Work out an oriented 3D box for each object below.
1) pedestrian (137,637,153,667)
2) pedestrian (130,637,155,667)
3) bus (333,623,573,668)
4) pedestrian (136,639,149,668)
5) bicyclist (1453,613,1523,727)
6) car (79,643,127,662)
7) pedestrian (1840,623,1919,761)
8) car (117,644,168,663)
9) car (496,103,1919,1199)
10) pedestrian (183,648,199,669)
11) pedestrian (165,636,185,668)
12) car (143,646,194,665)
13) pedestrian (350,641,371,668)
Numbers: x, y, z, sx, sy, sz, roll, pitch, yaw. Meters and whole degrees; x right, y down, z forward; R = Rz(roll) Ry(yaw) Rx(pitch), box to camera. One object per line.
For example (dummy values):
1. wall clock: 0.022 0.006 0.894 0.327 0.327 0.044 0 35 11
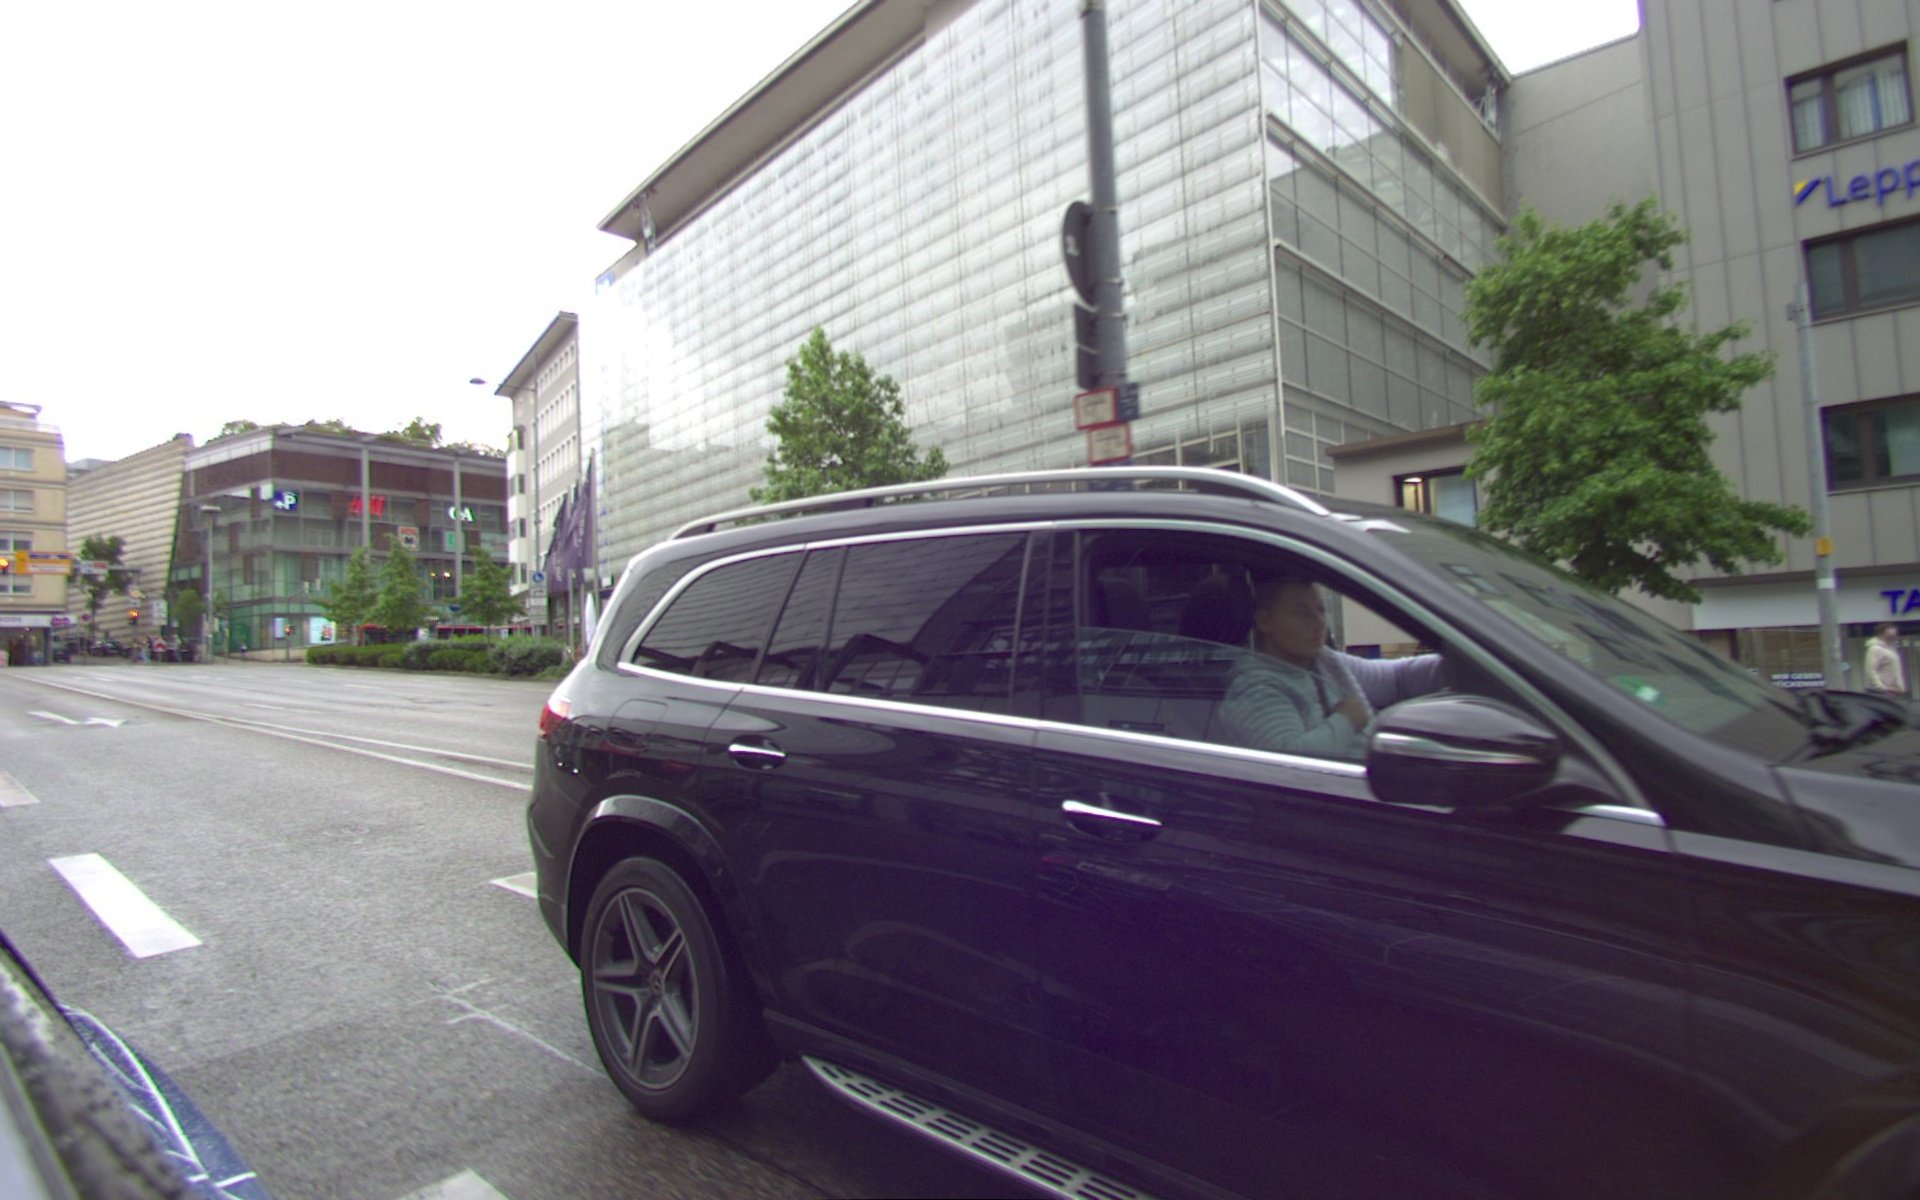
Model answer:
1. pedestrian: -46.924 3.002 58.291 0.629 1.702 0.784 2 -4 -43
2. pedestrian: -48.680 3.099 60.277 1.009 1.801 0.844 -2 -4 32
3. bus: -41.268 3.864 83.853 2.927 3.346 18.233 -4 -5 39
4. pedestrian: -47.430 3.111 58.719 0.571 1.681 0.494 -5 -5 45
5. bicyclist: 8.825 1.147 16.906 0.986 1.844 0.664 -1 -3 30
6. car: -77.595 4.743 91.595 4.361 1.558 1.881 -1 -1 28
7. pedestrian: 12.344 1.187 13.310 1.037 1.736 0.983 -3 -4 38
8. car: -71.238 4.619 88.171 4.361 1.558 1.881 -1 -1 28
9. car: 0.963 0.395 2.546 4.790 1.831 2.066 -3 -1 41
10. pedestrian: -66.632 5.078 87.722 1.044 1.775 0.689 -3 -5 27
11. pedestrian: -45.377 3.011 58.498 0.829 1.792 0.611 -2 -4 32
12. car: -66.583 4.633 85.125 4.277 1.558 1.788 -1 -3 28
13. pedestrian: -39.792 3.600 67.146 1.022 1.789 0.791 -2 -4 32
